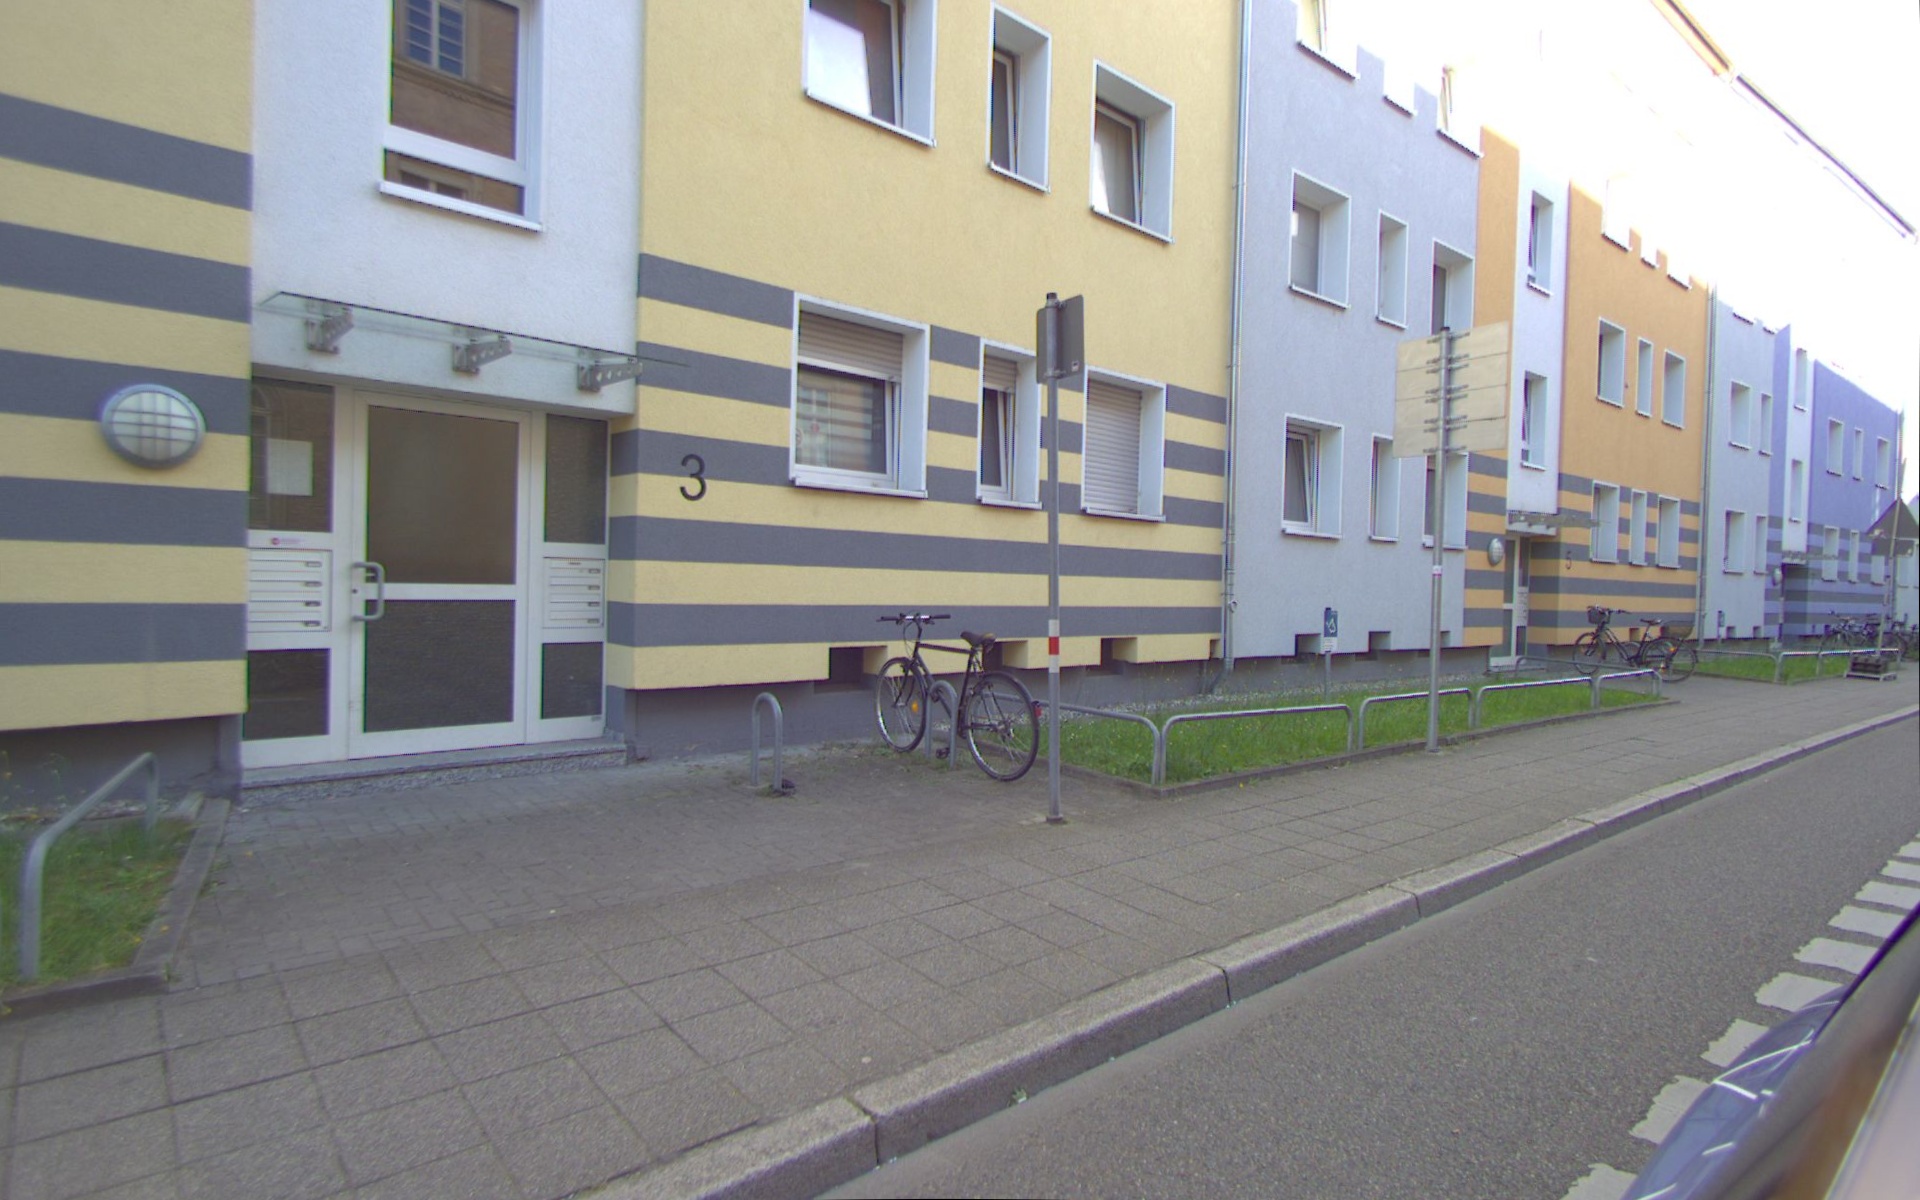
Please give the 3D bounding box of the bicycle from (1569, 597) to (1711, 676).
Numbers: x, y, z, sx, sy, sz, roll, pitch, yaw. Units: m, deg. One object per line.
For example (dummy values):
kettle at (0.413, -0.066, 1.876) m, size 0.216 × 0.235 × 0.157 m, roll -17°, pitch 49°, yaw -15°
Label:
bicycle at (10.677, 0.543, 15.938) m, size 1.775 × 1.137 × 0.476 m, roll 3°, pitch 1°, yaw 44°

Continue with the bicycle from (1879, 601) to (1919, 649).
bicycle at (24.125, 0.632, 25.270) m, size 0.475 × 1.166 × 1.678 m, roll 1°, pitch 1°, yaw -37°

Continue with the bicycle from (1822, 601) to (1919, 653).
bicycle at (22.216, 0.638, 24.721) m, size 0.475 × 1.166 × 1.678 m, roll 1°, pitch 1°, yaw -37°

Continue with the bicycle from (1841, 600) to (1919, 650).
bicycle at (23.297, 0.620, 25.414) m, size 0.475 × 1.166 × 1.678 m, roll 1°, pitch 1°, yaw -37°

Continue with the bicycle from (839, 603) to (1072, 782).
bicycle at (-0.084, 0.572, 7.009) m, size 1.775 × 1.031 × 0.476 m, roll 3°, pitch 1°, yaw 44°
